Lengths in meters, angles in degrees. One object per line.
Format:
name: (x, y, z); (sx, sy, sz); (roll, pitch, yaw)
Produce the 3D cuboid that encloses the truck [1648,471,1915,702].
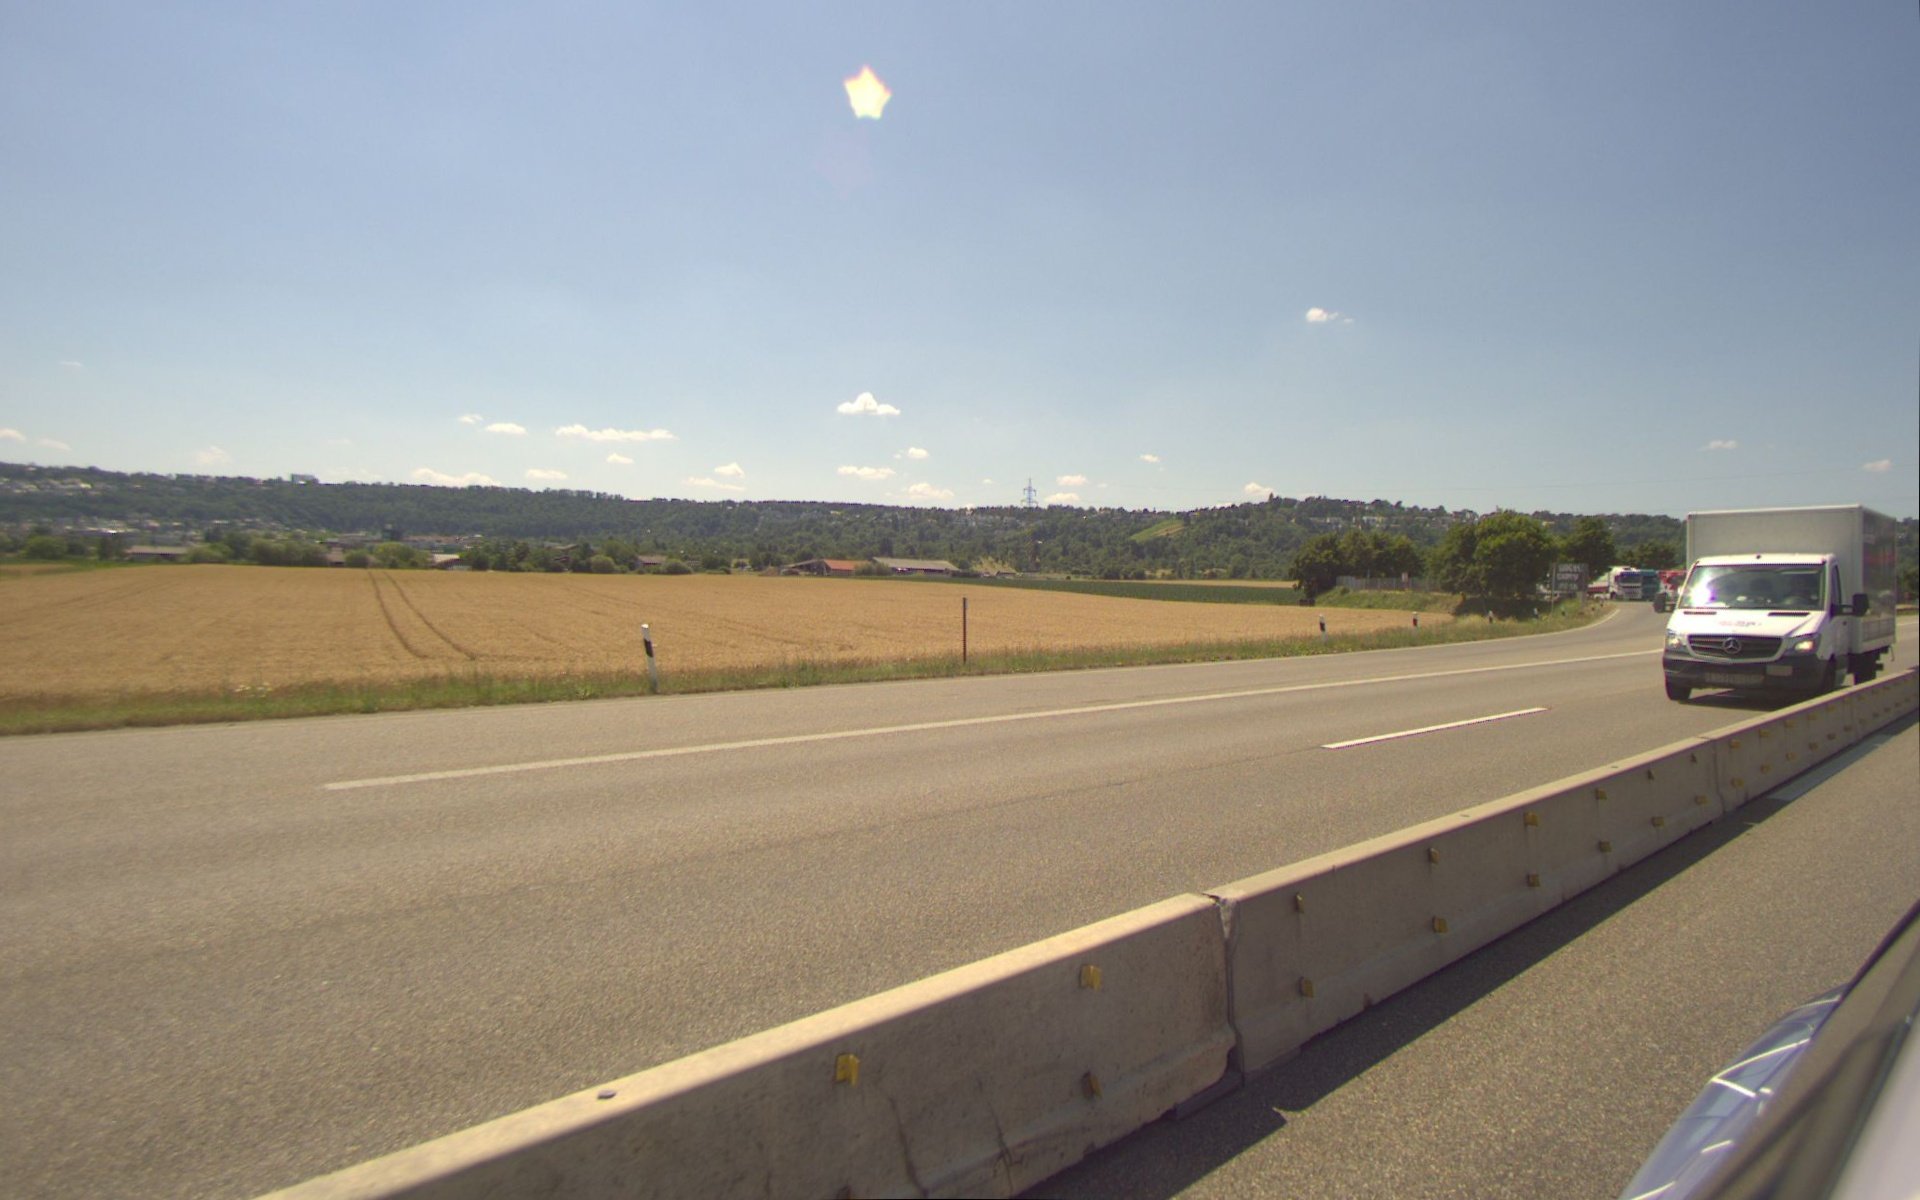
truck: (13.675, -0.144, 16.644); (6.632, 3.107, 2.324); (1, -1, -41)
